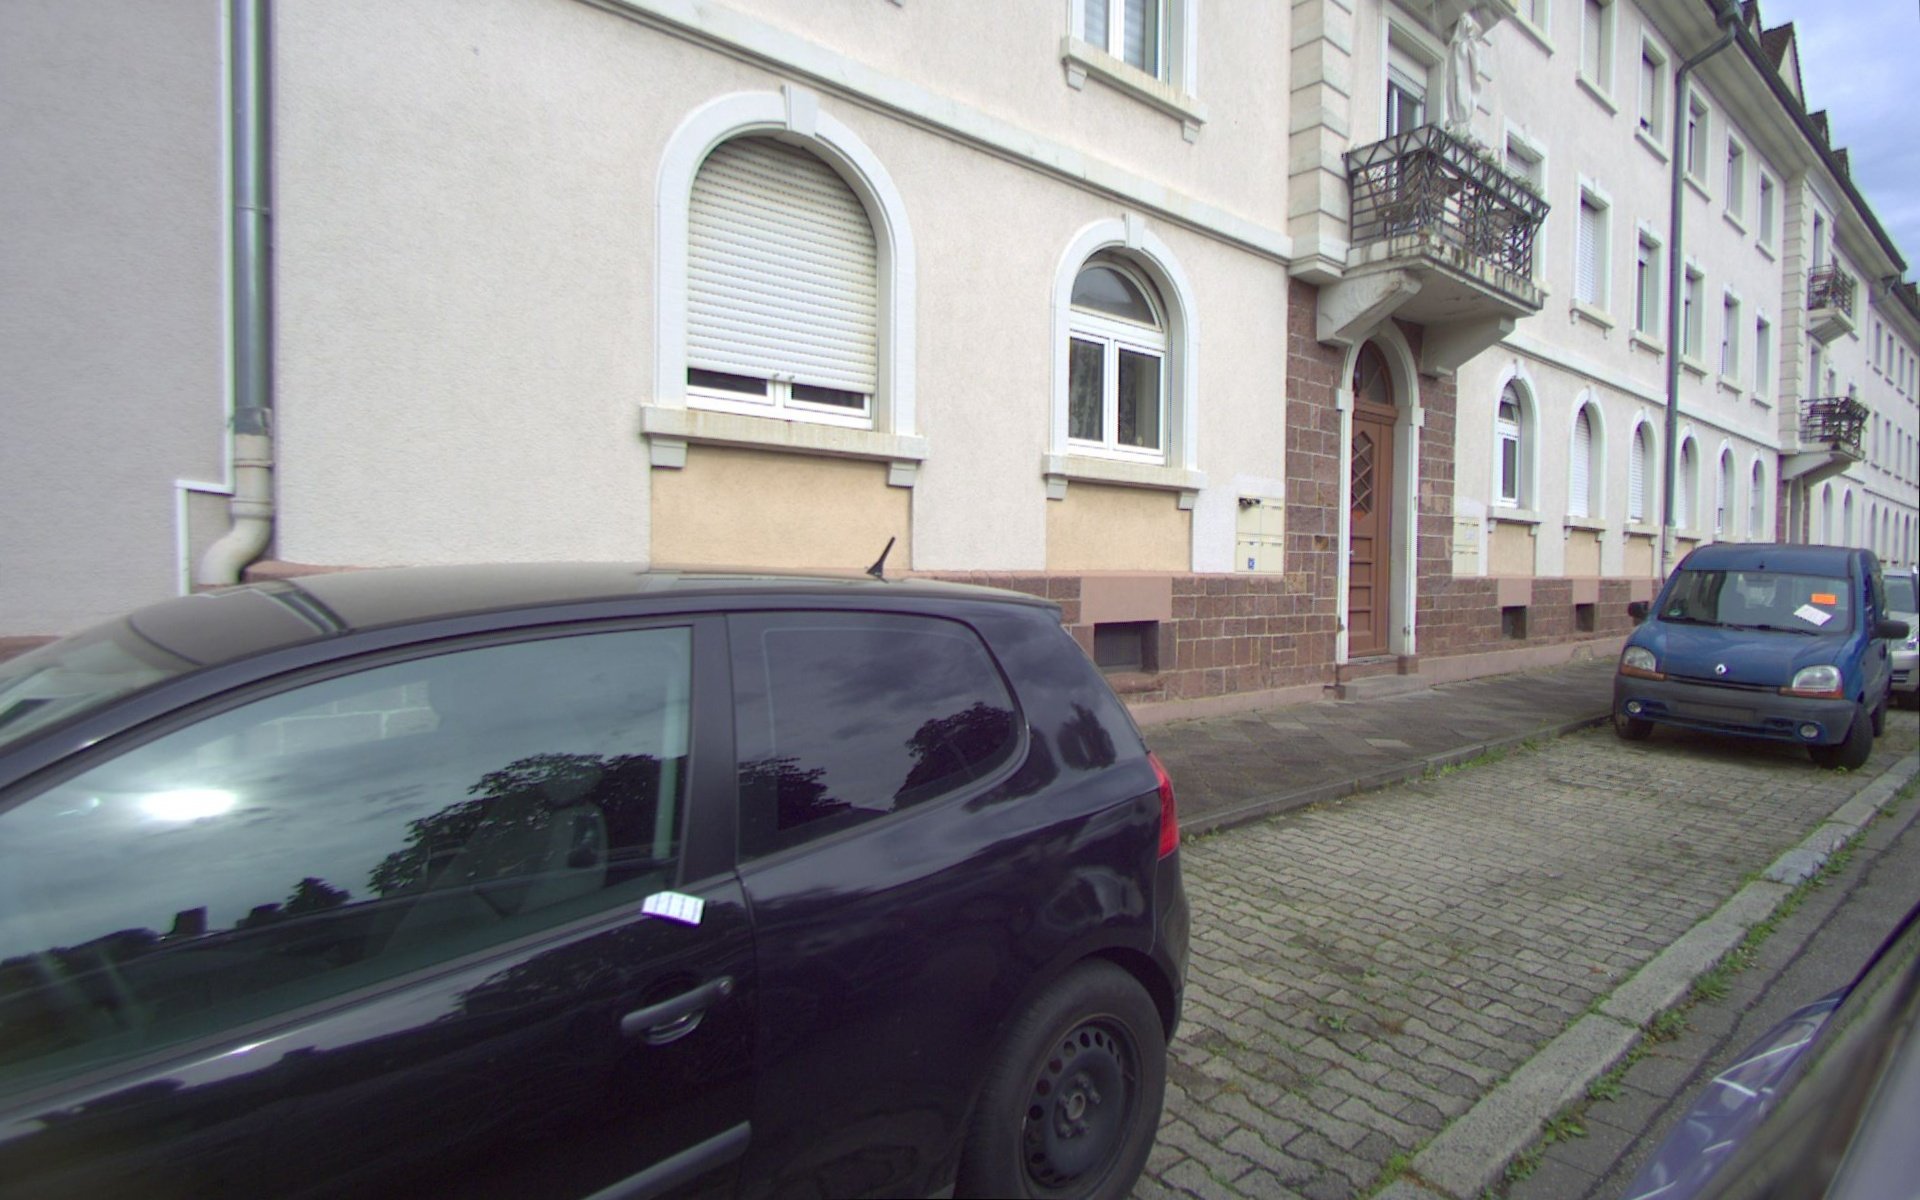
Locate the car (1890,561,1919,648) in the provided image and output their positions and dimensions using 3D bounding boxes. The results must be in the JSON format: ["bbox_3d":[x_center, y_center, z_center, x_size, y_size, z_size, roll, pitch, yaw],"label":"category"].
[{"bbox_3d":[19.078,0.106,19.099,3.885,1.532,1.686,-1,6,-40],"label":"car"}]

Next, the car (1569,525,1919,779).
[{"bbox_3d":[7.476,0.281,9.309,4.113,1.806,1.942,-1,4,-40],"label":"car"}]

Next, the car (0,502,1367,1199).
[{"bbox_3d":[-1.170,0.575,1.936,4.465,1.471,1.692,-1,4,-41],"label":"car"}]

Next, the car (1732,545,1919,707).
[{"bbox_3d":[11.395,0.223,12.713,4.056,1.657,1.775,-1,6,-40],"label":"car"}]
